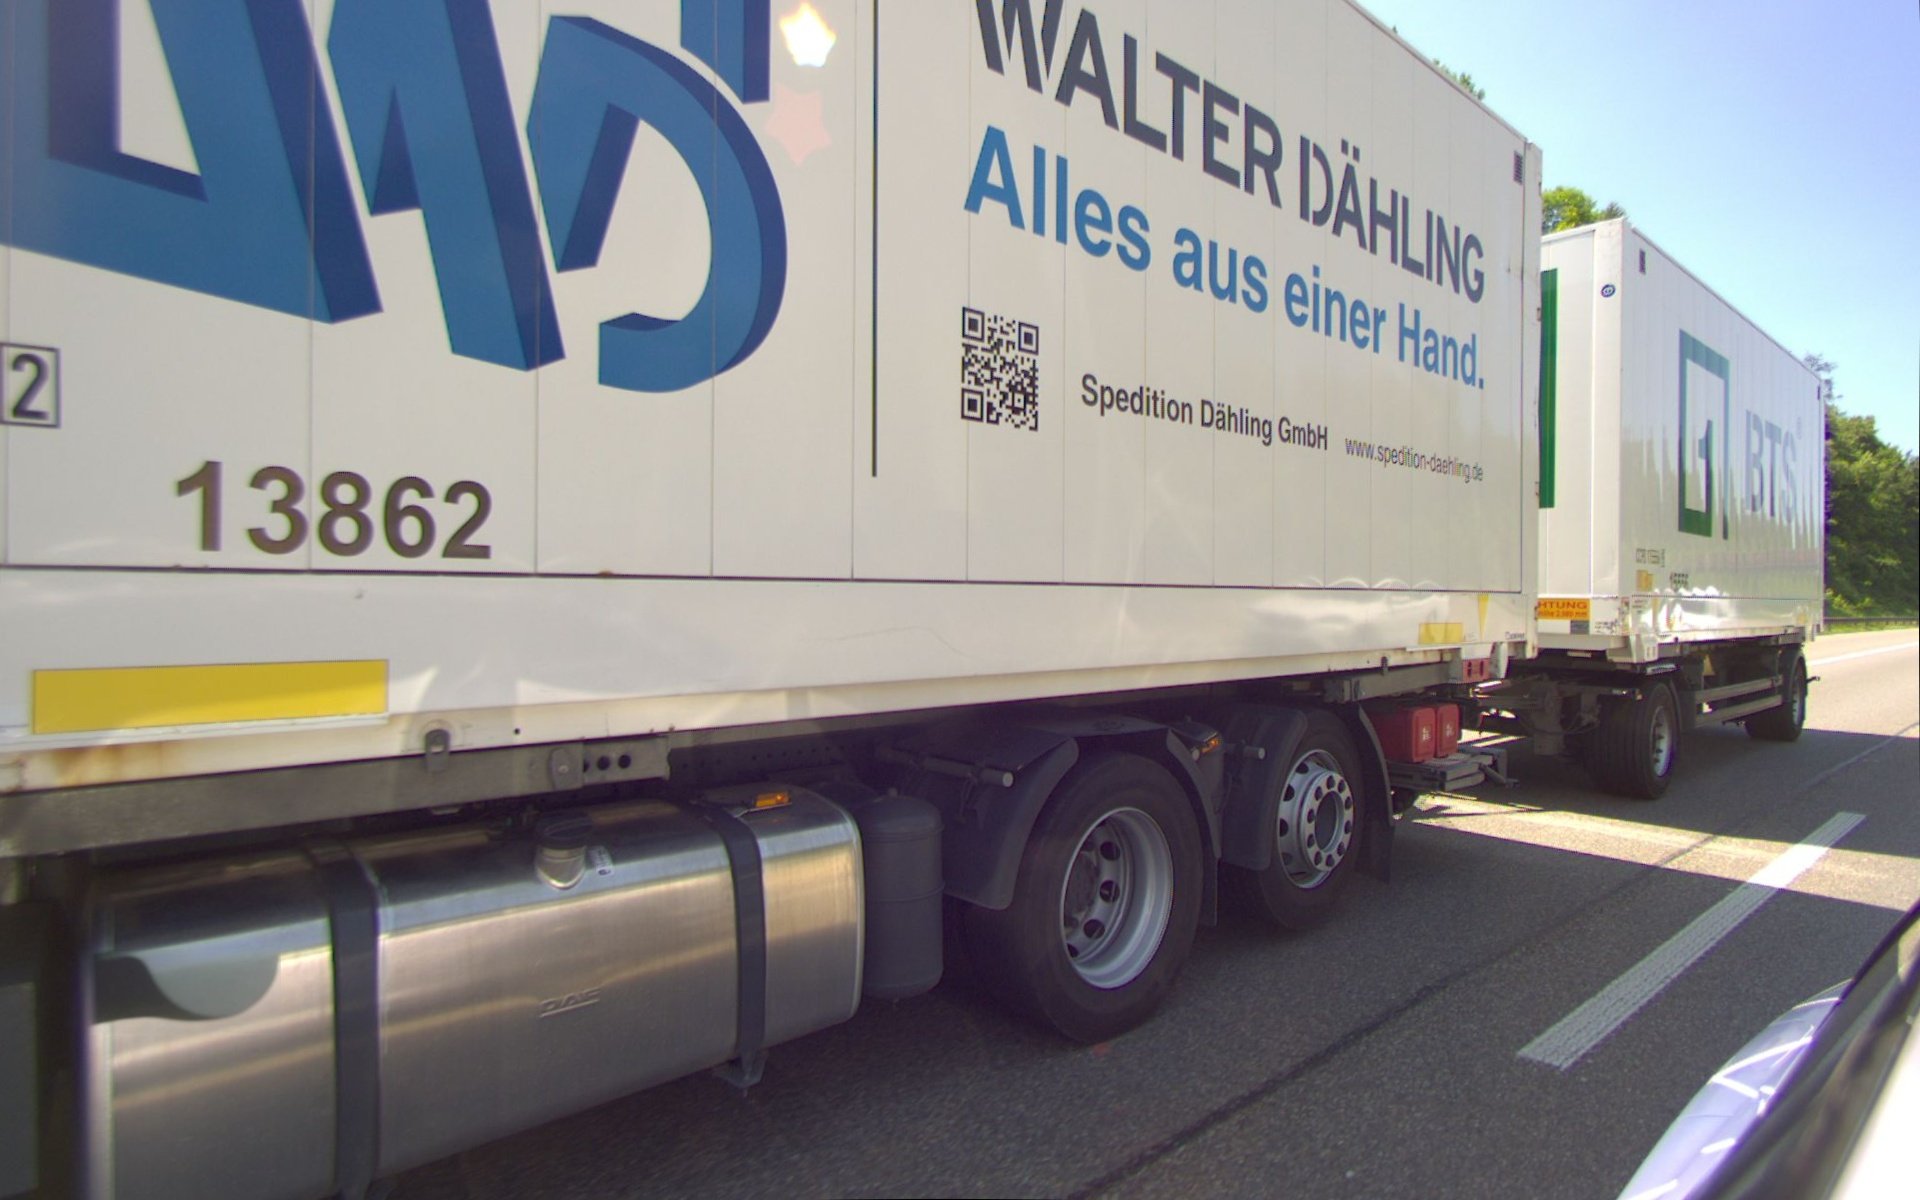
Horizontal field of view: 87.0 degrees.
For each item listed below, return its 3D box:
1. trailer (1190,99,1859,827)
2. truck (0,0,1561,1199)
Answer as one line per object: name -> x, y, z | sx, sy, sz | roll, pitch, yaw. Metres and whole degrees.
trailer -> 6.411, -0.733, 10.151 | 9.888, 4.229, 2.684 | 1, -1, -41
truck -> -1.437, -0.754, 3.237 | 10.439, 4.111, 2.684 | 1, -1, -41
